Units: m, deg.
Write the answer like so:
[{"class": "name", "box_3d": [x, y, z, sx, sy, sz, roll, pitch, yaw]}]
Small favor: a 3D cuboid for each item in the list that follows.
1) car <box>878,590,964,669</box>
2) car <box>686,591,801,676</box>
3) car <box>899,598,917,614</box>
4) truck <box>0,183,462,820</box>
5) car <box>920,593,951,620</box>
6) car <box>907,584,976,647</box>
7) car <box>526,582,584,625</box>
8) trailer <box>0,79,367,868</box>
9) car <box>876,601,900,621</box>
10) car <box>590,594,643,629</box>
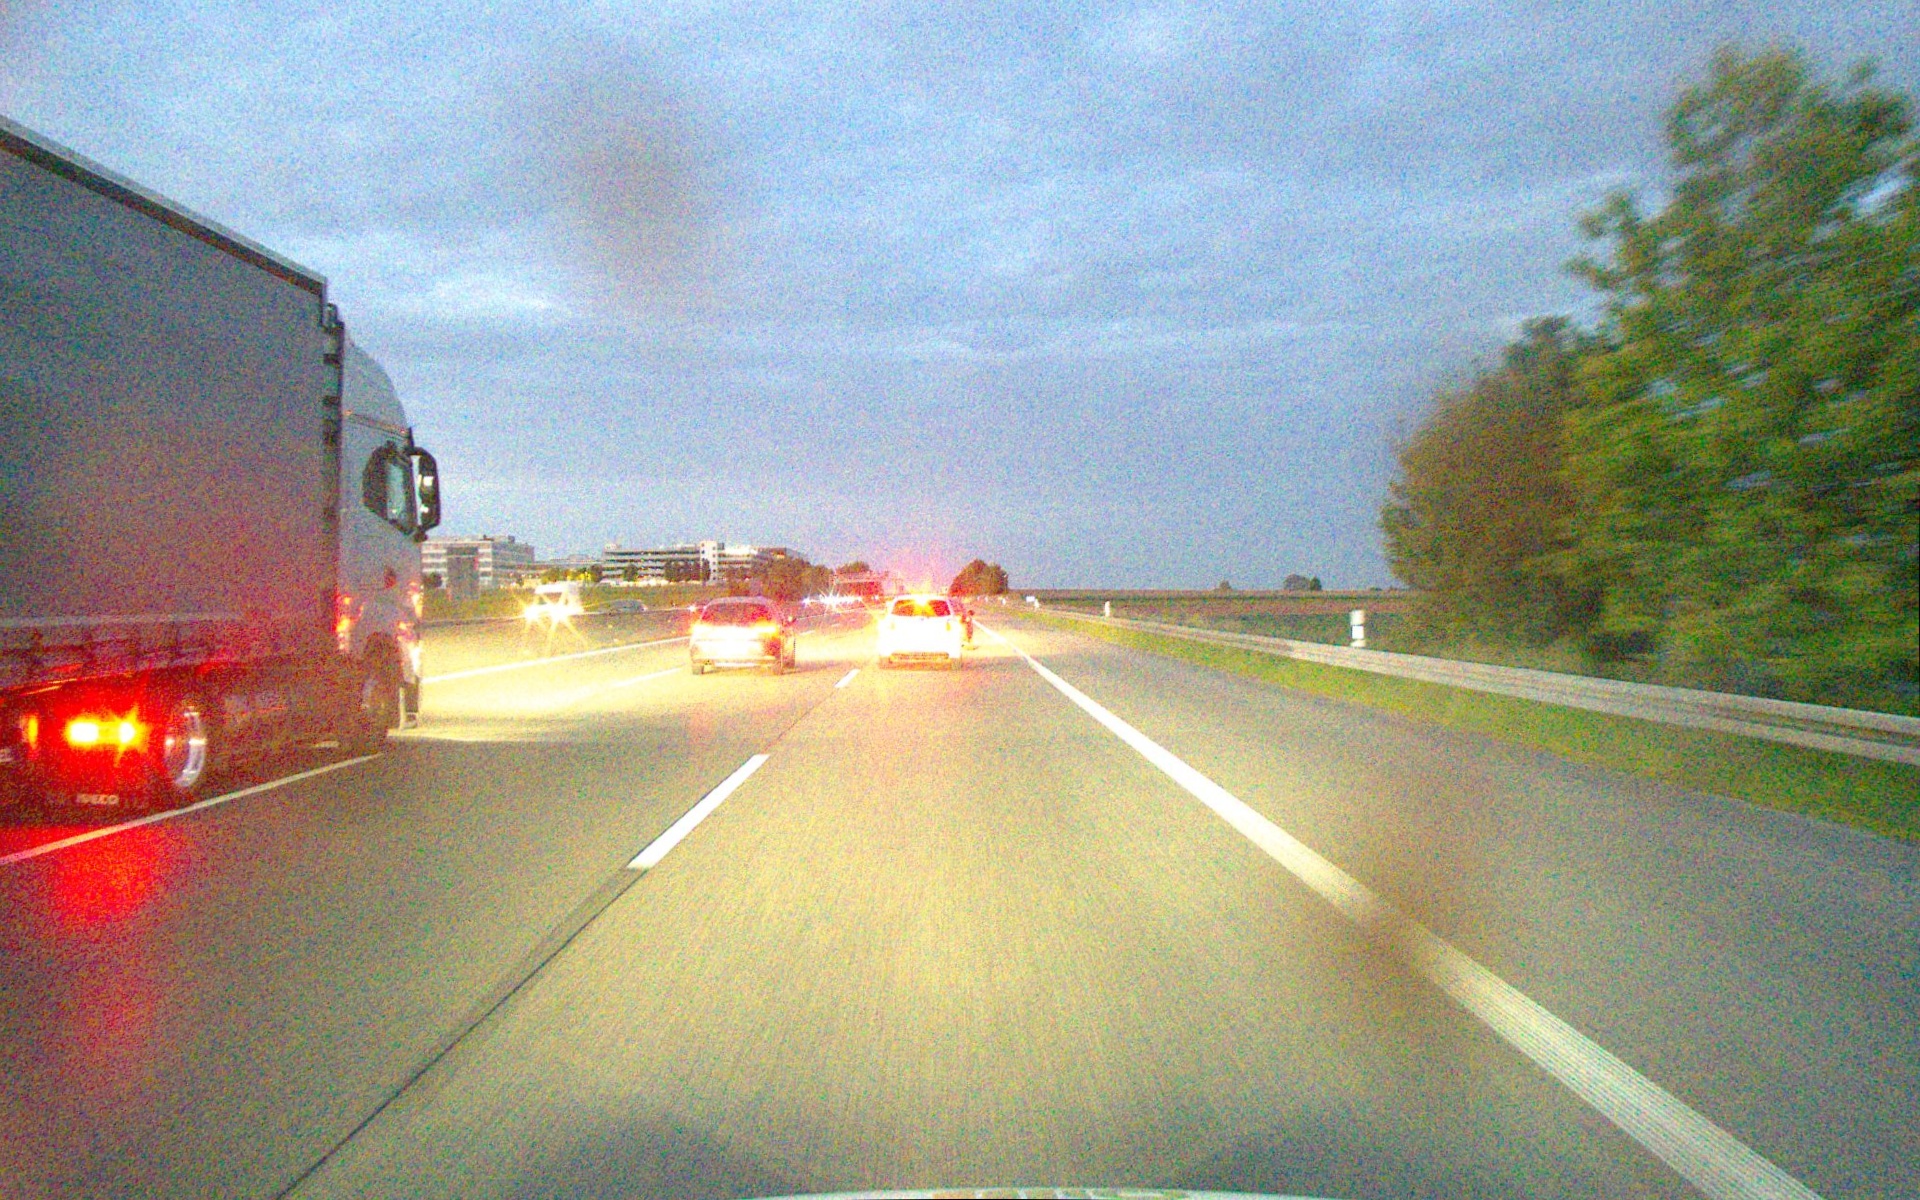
[{"class": "car", "box_3d": [-0.795, 0.602, 35.313, 1.708, 1.551, 4.413, 1, -1, 0]}, {"class": "car", "box_3d": [-4.119, 0.623, 32.122, 1.688, 1.497, 4.724, 1, -1, -1]}, {"class": "car", "box_3d": [-6.490, 0.734, 205.668, 2.154, 1.912, 3.999, 1, -1, -1]}, {"class": "truck", "box_3d": [-6.451, -0.622, 13.847, 2.721, 4.164, 6.102, 0, -1, 0]}, {"class": "car", "box_3d": [-1.543, 0.409, 101.683, 1.842, 1.579, 3.999, 1, -1, -2]}, {"class": "car", "box_3d": [-0.525, 0.440, 46.835, 1.842, 1.672, 3.999, 1, -1, -1]}, {"class": "car", "box_3d": [-23.802, 0.236, 97.423, 1.953, 2.429, 5.835, 1, -1, -1]}, {"class": "trailer", "box_3d": [-6.429, -0.681, 6.825, 2.737, 4.157, 14.524, 0, -1, 0]}, {"class": "car", "box_3d": [-5.801, 0.865, 133.226, 1.842, 1.579, 3.999, 1, -1, -2]}, {"class": "car", "box_3d": [-16.893, 0.585, 81.544, 1.664, 1.645, 4.625, 1, -1, -1]}]
